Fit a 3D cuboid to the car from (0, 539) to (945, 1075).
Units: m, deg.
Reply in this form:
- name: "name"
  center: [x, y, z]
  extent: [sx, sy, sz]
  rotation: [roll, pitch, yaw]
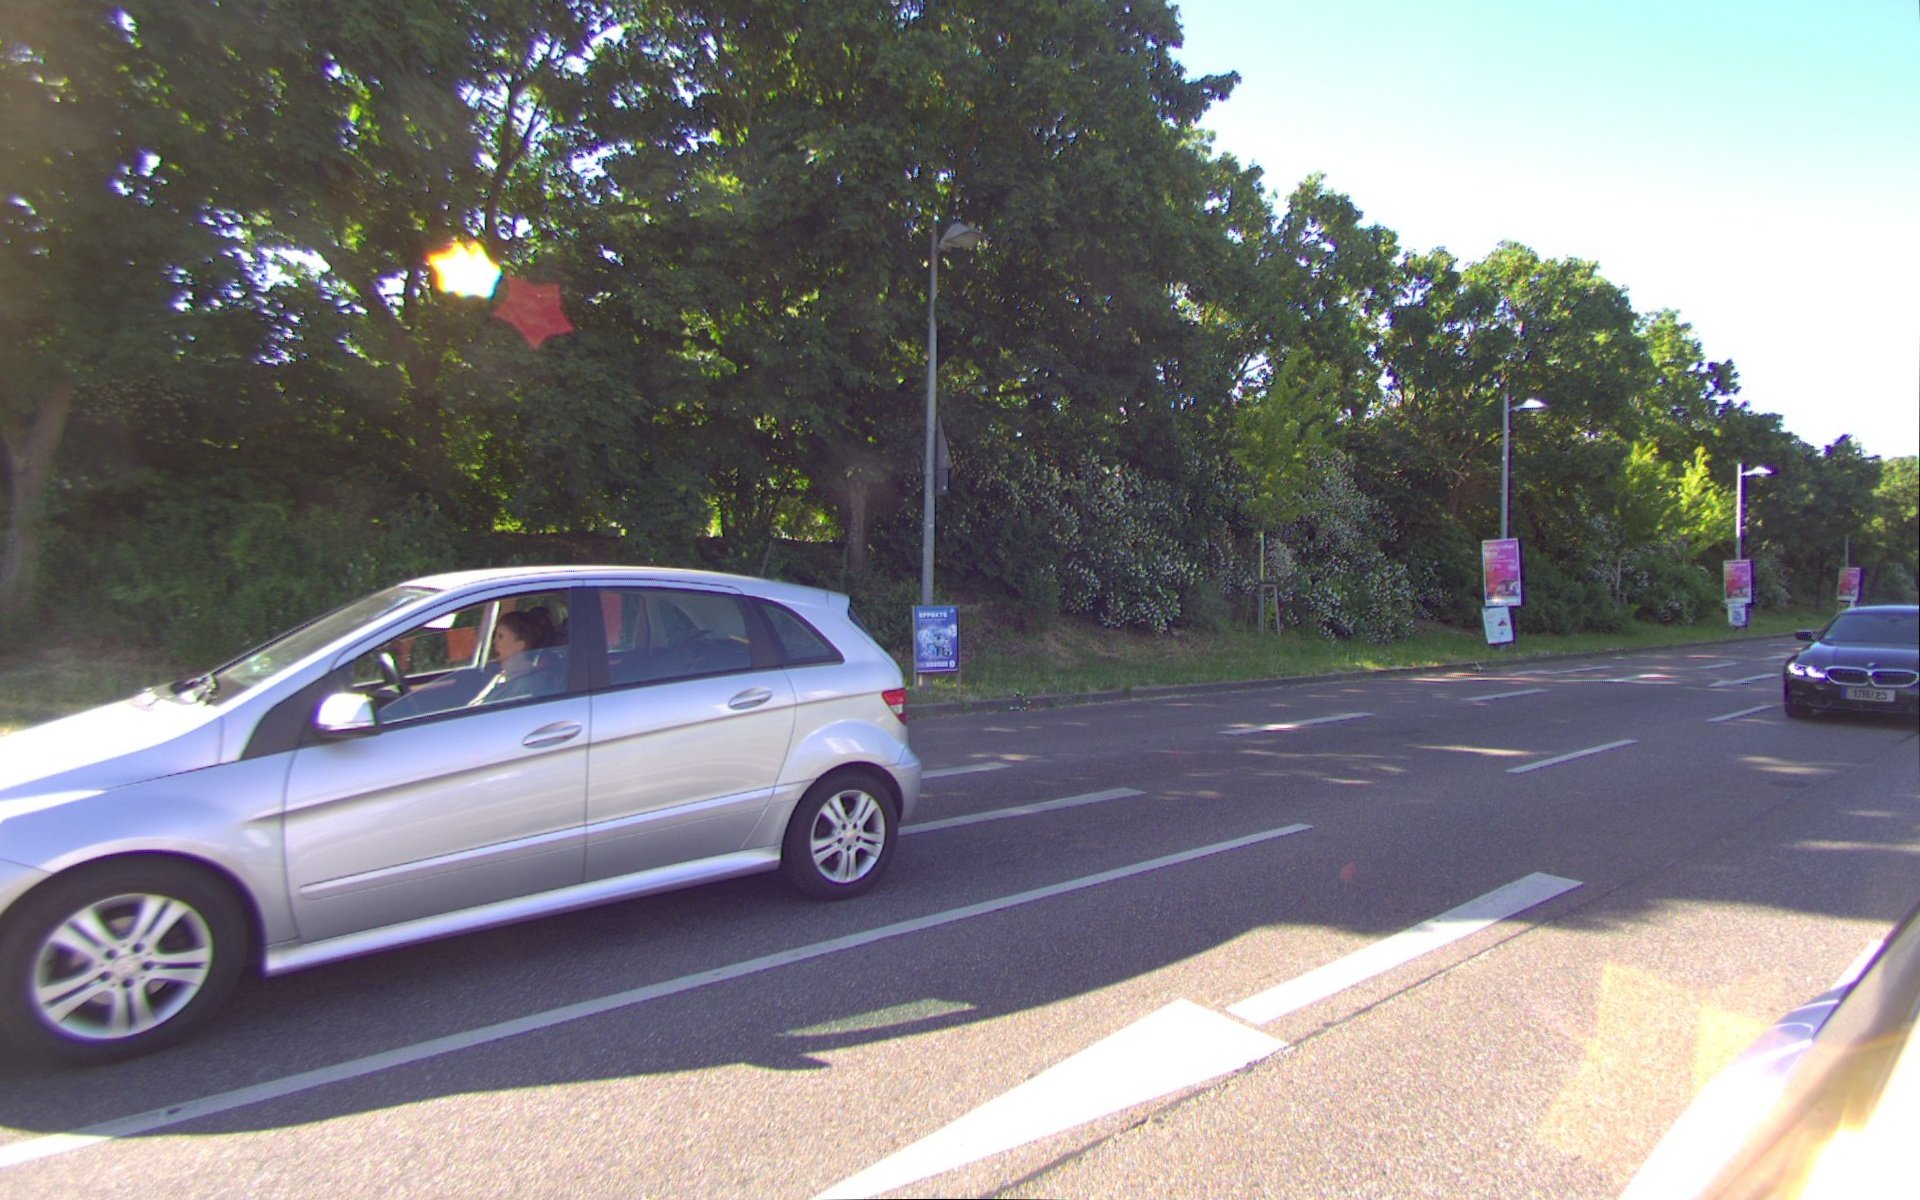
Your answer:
- name: "car"
  center: [-2.143, 0.575, 4.565]
  extent: [3.988, 1.559, 1.672]
  rotation: [0, 1, -40]

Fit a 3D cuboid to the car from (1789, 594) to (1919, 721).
- name: "car"
  center: [12.448, 0.653, 13.230]
  extent: [4.143, 1.426, 1.830]
  rotation: [-1, 1, -41]
